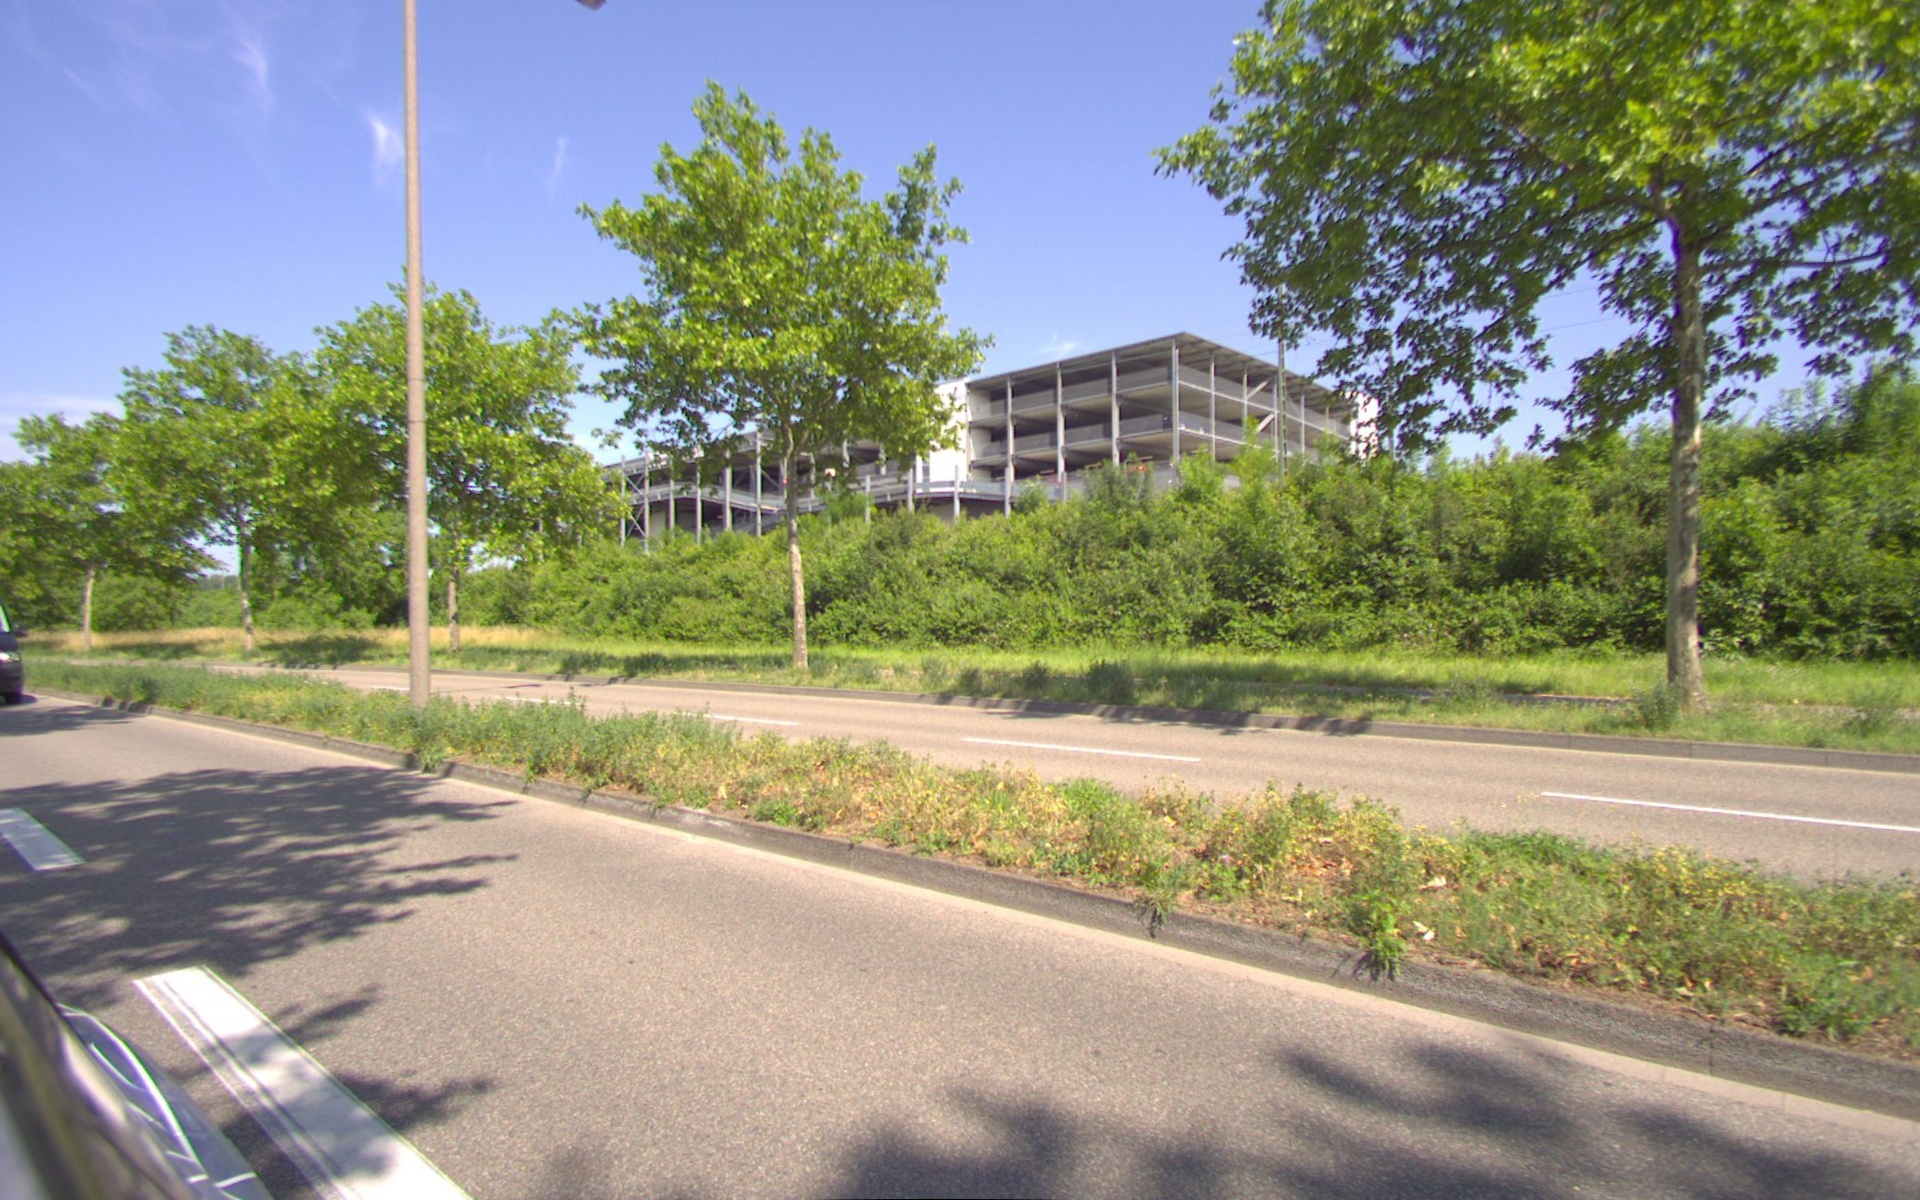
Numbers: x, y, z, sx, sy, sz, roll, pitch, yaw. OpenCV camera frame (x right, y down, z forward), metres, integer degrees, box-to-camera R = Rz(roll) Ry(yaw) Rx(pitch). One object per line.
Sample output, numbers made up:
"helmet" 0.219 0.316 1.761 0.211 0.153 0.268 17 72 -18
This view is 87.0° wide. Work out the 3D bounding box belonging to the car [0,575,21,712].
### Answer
"car" -21.205 0.898 20.893 6.164 2.627 1.995 -1 -1 41
